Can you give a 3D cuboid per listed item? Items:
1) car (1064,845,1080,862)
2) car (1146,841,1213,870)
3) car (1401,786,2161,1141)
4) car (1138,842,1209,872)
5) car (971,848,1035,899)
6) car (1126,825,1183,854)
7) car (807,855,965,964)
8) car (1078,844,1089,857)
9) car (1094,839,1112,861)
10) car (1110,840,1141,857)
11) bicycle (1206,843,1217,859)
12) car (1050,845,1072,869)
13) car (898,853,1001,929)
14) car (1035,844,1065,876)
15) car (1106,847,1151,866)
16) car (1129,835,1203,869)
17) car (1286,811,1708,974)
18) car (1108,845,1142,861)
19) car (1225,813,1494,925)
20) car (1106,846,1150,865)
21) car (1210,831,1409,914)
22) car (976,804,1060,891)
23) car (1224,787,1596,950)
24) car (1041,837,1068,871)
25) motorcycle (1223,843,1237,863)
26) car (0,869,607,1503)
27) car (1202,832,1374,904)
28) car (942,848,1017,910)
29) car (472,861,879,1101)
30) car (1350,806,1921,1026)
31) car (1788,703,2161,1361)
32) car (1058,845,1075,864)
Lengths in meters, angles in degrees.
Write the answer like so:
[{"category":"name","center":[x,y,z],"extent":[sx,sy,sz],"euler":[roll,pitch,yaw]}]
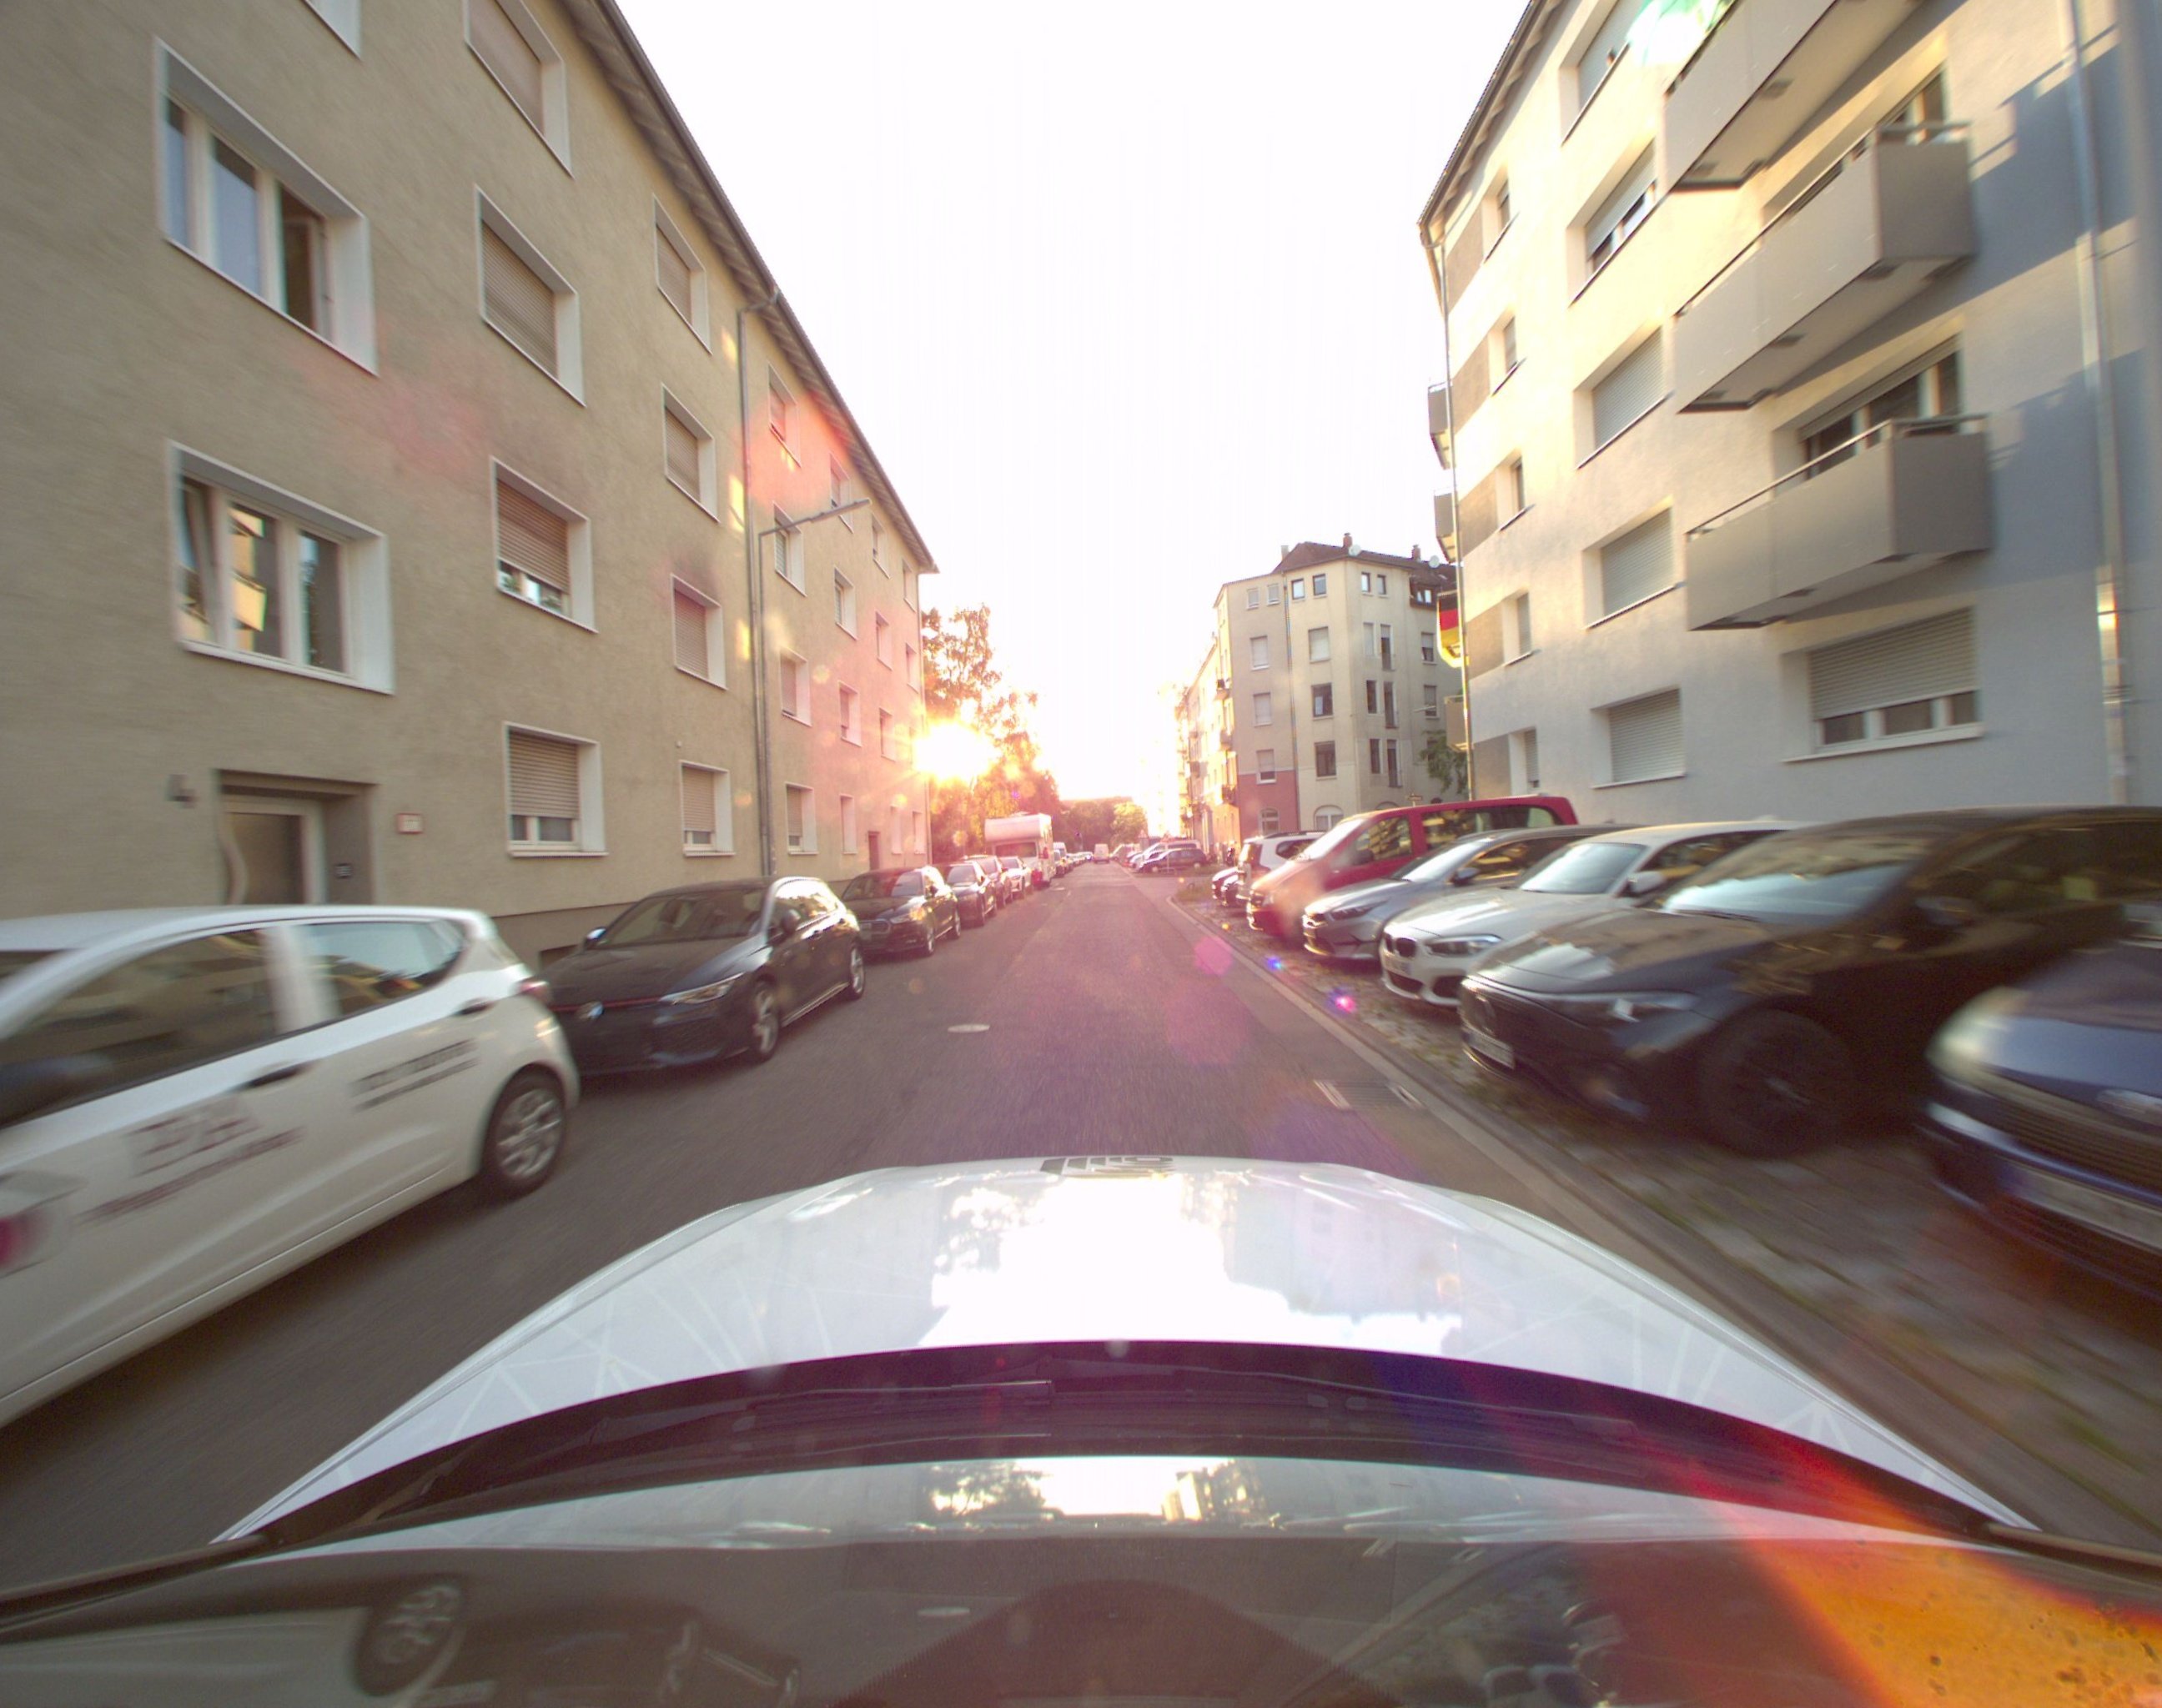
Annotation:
[{"category":"car","center":[-1.027,-0.056,93.154],"extent":[1.648,1.830,3.875],"euler":[-4,0,0]},{"category":"car","center":[6.142,0.094,51.002],"extent":[3.973,1.530,1.659],"euler":[-4,1,0]},{"category":"car","center":[4.343,0.481,4.681],"extent":[4.293,1.449,1.656],"euler":[-4,0,1]},{"category":"car","center":[5.496,0.170,48.692],"extent":[3.973,1.530,1.659],"euler":[-4,1,0]},{"category":"car","center":[-2.675,0.613,28.736],"extent":[1.647,1.541,3.878],"euler":[-4,0,2]},{"category":"car","center":[5.570,-1.084,61.964],"extent":[3.977,2.013,1.998],"euler":[-3,0,-3]},{"category":"car","center":[-3.110,0.814,13.768],"extent":[1.648,1.434,3.795],"euler":[-4,0,0]},{"category":"car","center":[0.432,-0.560,129.496],"extent":[1.648,1.830,3.875],"euler":[-4,0,0]},{"category":"car","center":[3.036,-0.559,113.052],"extent":[2.122,2.717,4.833],"euler":[-4,0,0]},{"category":"car","center":[7.197,-0.947,131.663],"extent":[4.797,2.407,1.739],"euler":[-4,1,0]},{"category":"bicycle","center":[10.013,-0.252,62.580],"extent":[0.515,1.228,1.982],"euler":[-2,1,1]},{"category":"car","center":[-1.659,0.224,69.775],"extent":[1.648,1.830,3.875],"euler":[-4,0,0]},{"category":"car","center":[-2.899,0.760,18.730],"extent":[1.648,1.434,3.875],"euler":[-4,0,0]},{"category":"car","center":[-1.969,0.358,52.603],"extent":[1.648,1.830,3.875],"euler":[-4,0,0]},{"category":"car","center":[4.352,0.221,75.177],"extent":[3.973,1.530,1.659],"euler":[-4,1,0]},{"category":"car","center":[5.789,-0.146,55.665],"extent":[4.797,1.967,1.739],"euler":[-4,1,0]},{"category":"car","center":[4.755,0.419,9.725],"extent":[4.131,1.471,1.636],"euler":[-4,0,0]},{"category":"car","center":[5.295,-0.130,97.743],"extent":[3.973,1.530,1.659],"euler":[-4,1,0]},{"category":"car","center":[5.030,0.261,15.154],"extent":[4.309,1.637,1.818],"euler":[-4,0,0]},{"category":"car","center":[4.414,0.113,77.103],"extent":[3.973,1.530,1.659],"euler":[-4,1,0]},{"category":"car","center":[4.848,0.375,17.639],"extent":[3.799,1.428,1.635],"euler":[-4,0,0]},{"category":"car","center":[-2.588,-0.301,36.041],"extent":[2.610,3.268,7.700],"euler":[-4,0,2]},{"category":"car","center":[4.752,0.193,12.336],"extent":[4.706,1.909,2.059],"euler":[-4,0,0]},{"category":"car","center":[-1.998,-0.013,63.713],"extent":[1.764,2.445,5.144],"euler":[-4,0,0]},{"category":"motorcycle","center":[9.535,-0.100,52.047],"extent":[0.515,1.228,1.982],"euler":[-2,1,1]},{"category":"car","center":[-3.476,0.893,2.722],"extent":[1.611,1.473,3.504],"euler":[-4,0,0]},{"category":"car","center":[5.079,0.328,20.306],"extent":[3.799,1.428,1.635],"euler":[-4,0,0]},{"category":"car","center":[-2.973,0.681,24.518],"extent":[1.648,1.564,3.875],"euler":[-4,0,0]},{"category":"car","center":[-3.262,0.882,7.568],"extent":[1.654,1.434,4.031],"euler":[-4,0,0]},{"category":"car","center":[4.608,0.478,7.170],"extent":[3.863,1.416,1.636],"euler":[-4,0,-1]},{"category":"car","center":[4.633,0.325,2.267],"extent":[3.777,1.695,1.656],"euler":[-4,0,1]},{"category":"car","center":[-1.514,0.026,88.391],"extent":[1.648,1.830,3.875],"euler":[-4,0,0]}]
